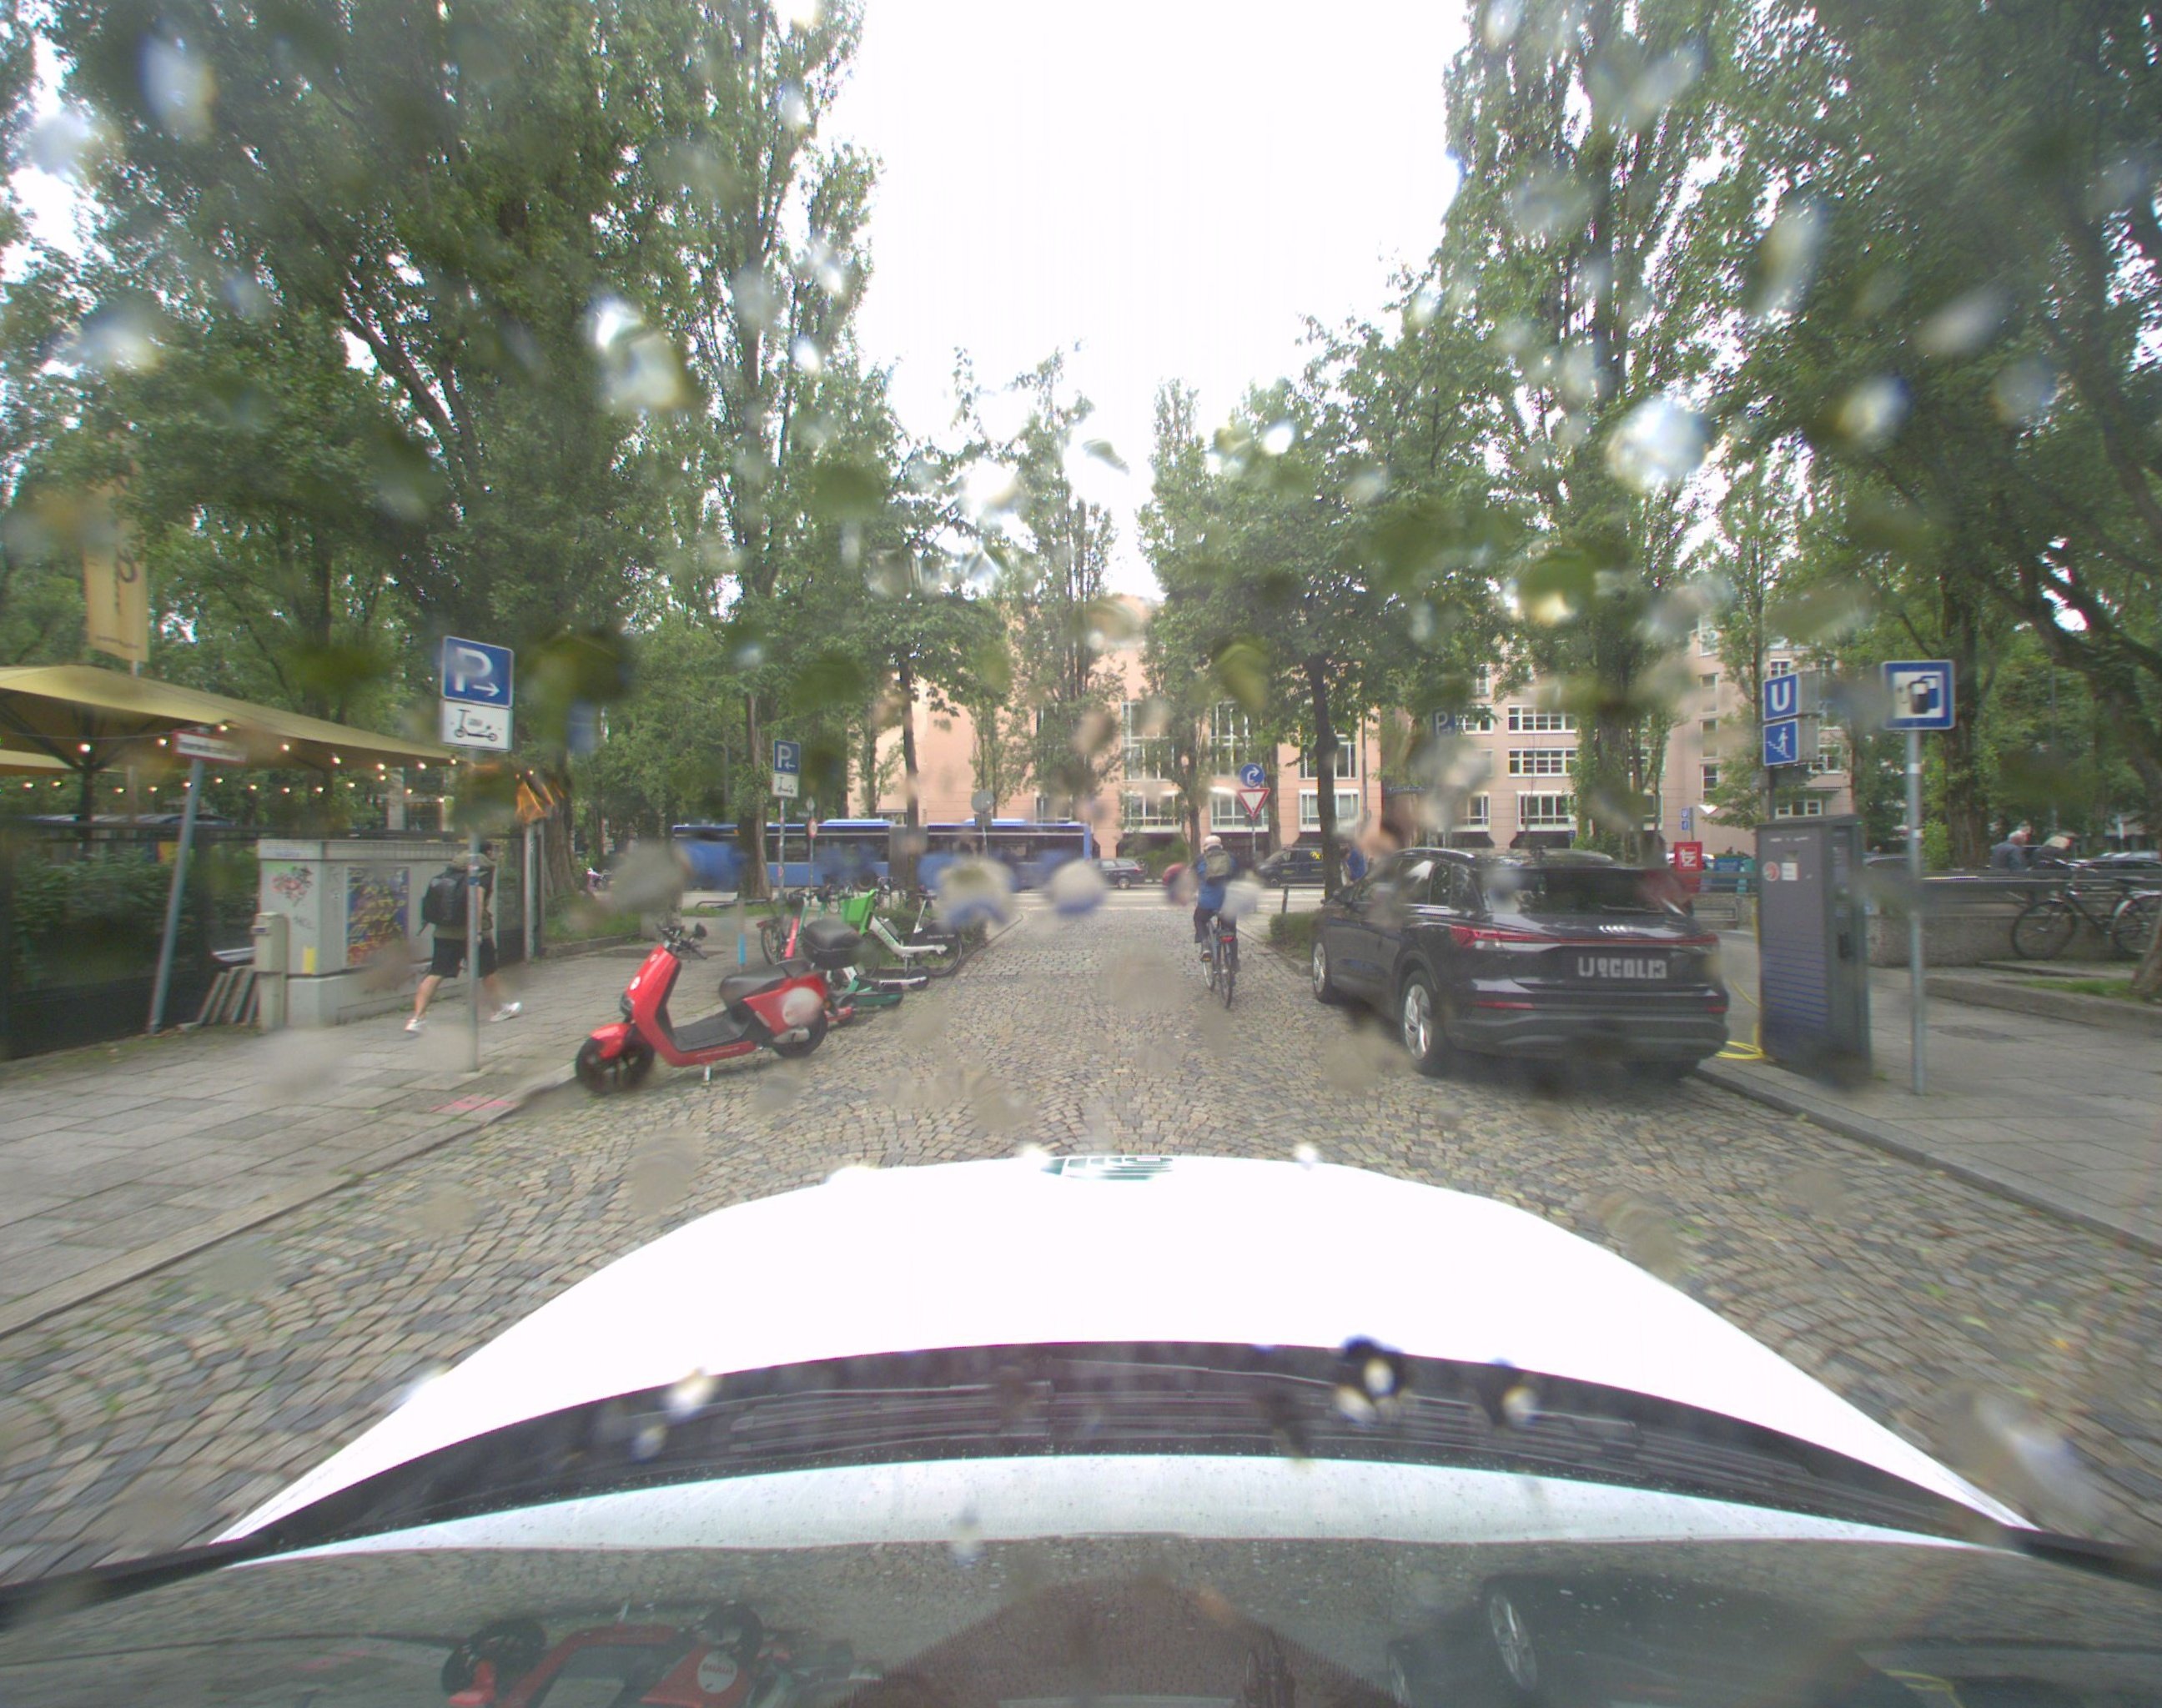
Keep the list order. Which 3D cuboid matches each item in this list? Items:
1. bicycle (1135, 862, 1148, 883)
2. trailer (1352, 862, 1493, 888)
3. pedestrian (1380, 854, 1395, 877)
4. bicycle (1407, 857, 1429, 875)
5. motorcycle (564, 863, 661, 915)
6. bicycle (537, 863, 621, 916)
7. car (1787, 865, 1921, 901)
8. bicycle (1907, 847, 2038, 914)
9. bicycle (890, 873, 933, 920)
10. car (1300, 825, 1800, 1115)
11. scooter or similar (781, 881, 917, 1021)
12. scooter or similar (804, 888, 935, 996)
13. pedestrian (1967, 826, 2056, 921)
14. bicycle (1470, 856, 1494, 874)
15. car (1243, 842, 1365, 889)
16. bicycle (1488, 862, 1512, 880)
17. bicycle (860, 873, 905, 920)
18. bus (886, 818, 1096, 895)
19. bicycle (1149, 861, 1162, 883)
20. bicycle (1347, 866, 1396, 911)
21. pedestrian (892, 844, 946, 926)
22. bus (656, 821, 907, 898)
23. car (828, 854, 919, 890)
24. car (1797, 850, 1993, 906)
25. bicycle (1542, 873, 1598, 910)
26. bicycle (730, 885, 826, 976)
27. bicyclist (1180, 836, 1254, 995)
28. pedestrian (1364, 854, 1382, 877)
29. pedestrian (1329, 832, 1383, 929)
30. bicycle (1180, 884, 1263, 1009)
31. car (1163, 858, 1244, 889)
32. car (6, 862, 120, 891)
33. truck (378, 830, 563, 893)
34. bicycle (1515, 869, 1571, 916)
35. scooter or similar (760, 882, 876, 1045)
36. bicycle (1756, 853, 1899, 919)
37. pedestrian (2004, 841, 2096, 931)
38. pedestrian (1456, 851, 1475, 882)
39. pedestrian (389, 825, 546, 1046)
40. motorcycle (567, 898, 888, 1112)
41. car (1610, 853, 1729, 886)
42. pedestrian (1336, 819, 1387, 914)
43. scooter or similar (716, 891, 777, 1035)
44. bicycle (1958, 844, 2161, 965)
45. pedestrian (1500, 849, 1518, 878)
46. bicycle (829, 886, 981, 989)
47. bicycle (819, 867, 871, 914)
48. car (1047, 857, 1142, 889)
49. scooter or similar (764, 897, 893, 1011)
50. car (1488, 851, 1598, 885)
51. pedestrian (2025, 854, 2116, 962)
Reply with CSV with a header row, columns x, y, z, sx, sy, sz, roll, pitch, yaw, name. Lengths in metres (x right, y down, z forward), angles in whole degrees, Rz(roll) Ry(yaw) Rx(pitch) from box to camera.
x,y,z,sx,sy,sz,roll,pitch,yaw,name
3.308,0.990,44.490,0.671,1.124,1.744,-1,0,4,bicycle
16.518,1.006,39.642,5.883,1.199,2.407,0,0,4,trailer
18.591,0.703,49.409,0.726,1.369,0.710,0,0,4,pedestrian
21.789,0.760,52.689,0.671,1.124,1.991,-1,0,4,bicycle
-11.588,0.834,20.197,2.002,1.196,0.622,-1,0,-41,motorcycle
-11.750,0.823,19.080,1.604,1.188,0.584,0,0,2,bicycle
36.102,1.340,38.128,4.291,1.542,2.002,-1,0,4,car
16.015,0.462,14.642,1.860,1.160,0.586,0,0,-6,bicycle
-4.171,1.025,20.158,0.487,1.093,1.707,-1,0,8,bicycle
3.330,0.687,6.907,1.913,1.700,4.202,0,0,1,car
-2.292,0.926,8.087,1.254,1.273,0.324,0,0,-28,scooter or similar
-2.422,0.984,9.367,1.431,1.144,0.367,0,0,-22,scooter or similar
18.068,0.367,15.834,0.835,1.803,0.752,0,0,8,pedestrian
25.849,0.668,52.507,0.671,1.124,2.109,-1,0,4,bicycle
10.817,0.557,39.862,5.456,2.197,2.025,0,0,3,car
26.969,1.080,52.469,0.671,1.124,1.991,-1,0,4,bicycle
-4.938,1.033,20.355,0.487,1.093,1.707,-1,0,8,bicycle
-3.671,0.114,34.753,8.453,3.052,2.930,-1,0,3,bus
4.044,0.974,44.452,0.671,1.124,1.744,-1,0,4,bicycle
7.093,0.818,19.954,0.473,1.050,1.875,0,-1,-2,bicycle
-3.513,0.654,17.711,0.952,1.711,0.858,-1,0,1,pedestrian
-12.724,0.238,35.122,9.724,3.052,2.929,-1,0,2,bus
-10.296,0.900,40.608,4.050,1.732,1.794,0,-2,1,car
23.638,0.675,23.767,3.877,1.526,1.751,0,1,4,car
11.691,0.883,19.533,0.467,0.818,1.837,-1,-1,8,bicycle
-3.934,0.957,10.706,0.550,1.022,1.763,0,0,1,bicycle
1.439,0.631,8.721,0.718,1.619,0.758,0,0,6,bicyclist
17.791,0.690,49.614,0.710,1.369,0.725,0,-1,-26,pedestrian
4.864,0.455,14.459,0.837,1.680,0.613,-1,0,12,pedestrian
1.460,0.921,8.749,0.713,1.148,1.903,0,-1,5,bicycle
5.964,0.943,39.843,3.841,1.449,1.681,0,0,5,car
-53.459,1.168,42.802,3.852,1.412,1.795,0,0,3,car
-29.045,0.360,38.913,7.025,2.907,2.604,0,0,4,truck
10.974,0.890,19.402,0.509,1.038,1.837,-1,-1,8,bicycle
-2.310,0.907,7.290,0.324,1.273,1.362,0,0,13,scooter or similar
13.487,0.570,14.758,1.849,1.160,0.590,0,0,14,bicycle
17.743,0.575,14.926,0.826,1.606,0.700,0,0,8,pedestrian
21.883,0.705,46.359,0.726,1.713,0.710,0,0,4,pedestrian
-5.217,0.658,6.967,0.747,1.773,0.706,2,0,2,pedestrian
-2.494,0.970,5.908,2.001,1.196,0.762,0,0,-41,motorcycle
28.277,0.734,39.248,4.295,1.542,2.000,-1,0,1,car
5.098,0.228,14.859,0.798,1.696,0.666,-1,0,12,pedestrian
-3.168,0.969,7.660,0.391,1.180,1.239,0,0,-29,scooter or similar
10.978,0.534,8.938,1.855,1.276,0.722,0,0,4,bicycle
25.002,0.546,47.600,0.726,1.713,0.710,0,0,4,pedestrian
-2.171,0.994,10.104,1.767,1.143,0.549,0,0,-29,bicycle
-5.952,0.905,20.649,0.487,1.093,1.988,-1,0,8,bicycle
0.725,0.937,40.304,4.589,1.529,1.795,0,0,3,car
-2.627,1.031,8.512,1.242,1.144,0.328,0,0,3,scooter or similar
22.061,0.678,38.997,4.200,1.542,1.809,-1,-2,5,car
16.059,0.854,13.237,0.683,1.700,0.667,-1,0,18,pedestrian
